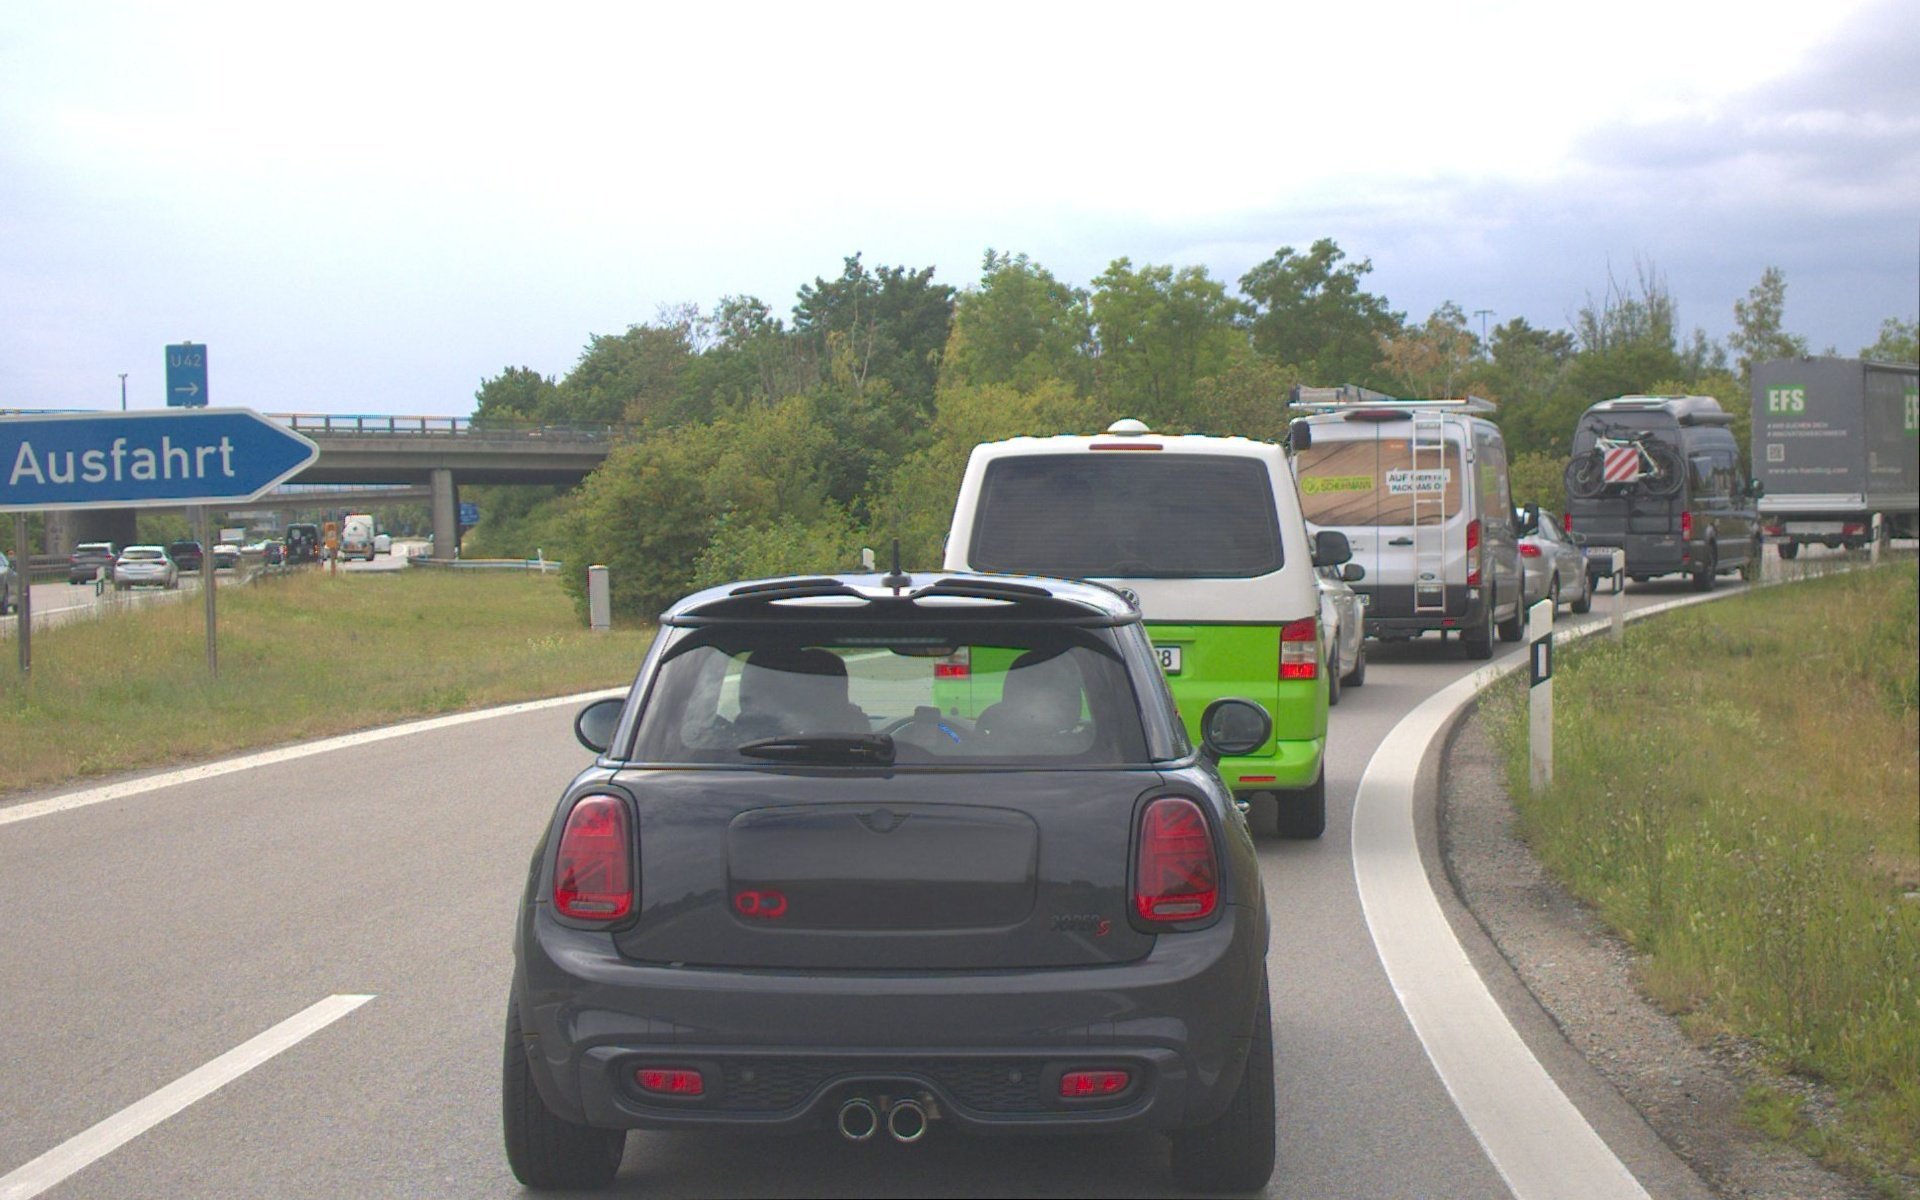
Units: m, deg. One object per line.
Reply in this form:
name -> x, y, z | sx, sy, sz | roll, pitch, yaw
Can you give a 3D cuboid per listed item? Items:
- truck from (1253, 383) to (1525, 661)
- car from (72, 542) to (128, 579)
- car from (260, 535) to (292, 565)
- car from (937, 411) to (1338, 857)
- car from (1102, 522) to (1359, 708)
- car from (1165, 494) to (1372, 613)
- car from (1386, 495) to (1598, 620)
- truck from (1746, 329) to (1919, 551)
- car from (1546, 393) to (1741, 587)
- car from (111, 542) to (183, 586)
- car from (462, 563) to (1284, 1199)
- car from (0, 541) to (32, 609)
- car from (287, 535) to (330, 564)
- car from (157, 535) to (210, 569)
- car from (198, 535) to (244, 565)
truck -> 4.530, -0.828, 35.580 | 2.180, 2.649, 5.106 | 0, 2, 14
car -> -33.493, -1.554, 133.995 | 1.779, 1.394, 4.307 | -1, 1, -9
car -> -48.101, -3.508, 241.782 | 2.068, 2.007, 4.001 | 1, 0, -9
car -> 1.014, 0.107, 17.530 | 1.784, 2.007, 3.999 | 0, 1, 7
car -> 2.262, 0.076, 27.917 | 1.763, 1.394, 3.724 | -1, 1, 9
car -> 4.258, -0.620, 46.968 | 1.797, 1.550, 3.957 | 0, 0, 21
car -> 6.797, -0.551, 43.610 | 1.868, 1.504, 3.996 | 0, 1, 21
truck -> 16.705, -2.900, 64.409 | 2.232, 3.893, 6.006 | 1, 0, 29
car -> 10.302, -1.646, 51.641 | 2.107, 2.786, 3.996 | 1, 2, 22
car -> -26.680, -1.187, 112.865 | 1.779, 1.394, 4.030 | -1, 1, -6
car -> -0.176, 0.627, 9.086 | 1.727, 1.409, 3.725 | 0, 1, 0
car -> -20.950, -0.541, 72.900 | 1.779, 1.394, 4.552 | -1, 1, -7
car -> -38.309, -2.962, 202.237 | 2.095, 1.665, 4.307 | -1, 1, -6
car -> -39.308, -2.438, 174.020 | 2.095, 1.665, 4.307 | -1, 1, -6
car -> -42.826, -2.896, 199.277 | 2.159, 1.665, 4.307 | -1, 1, -6
